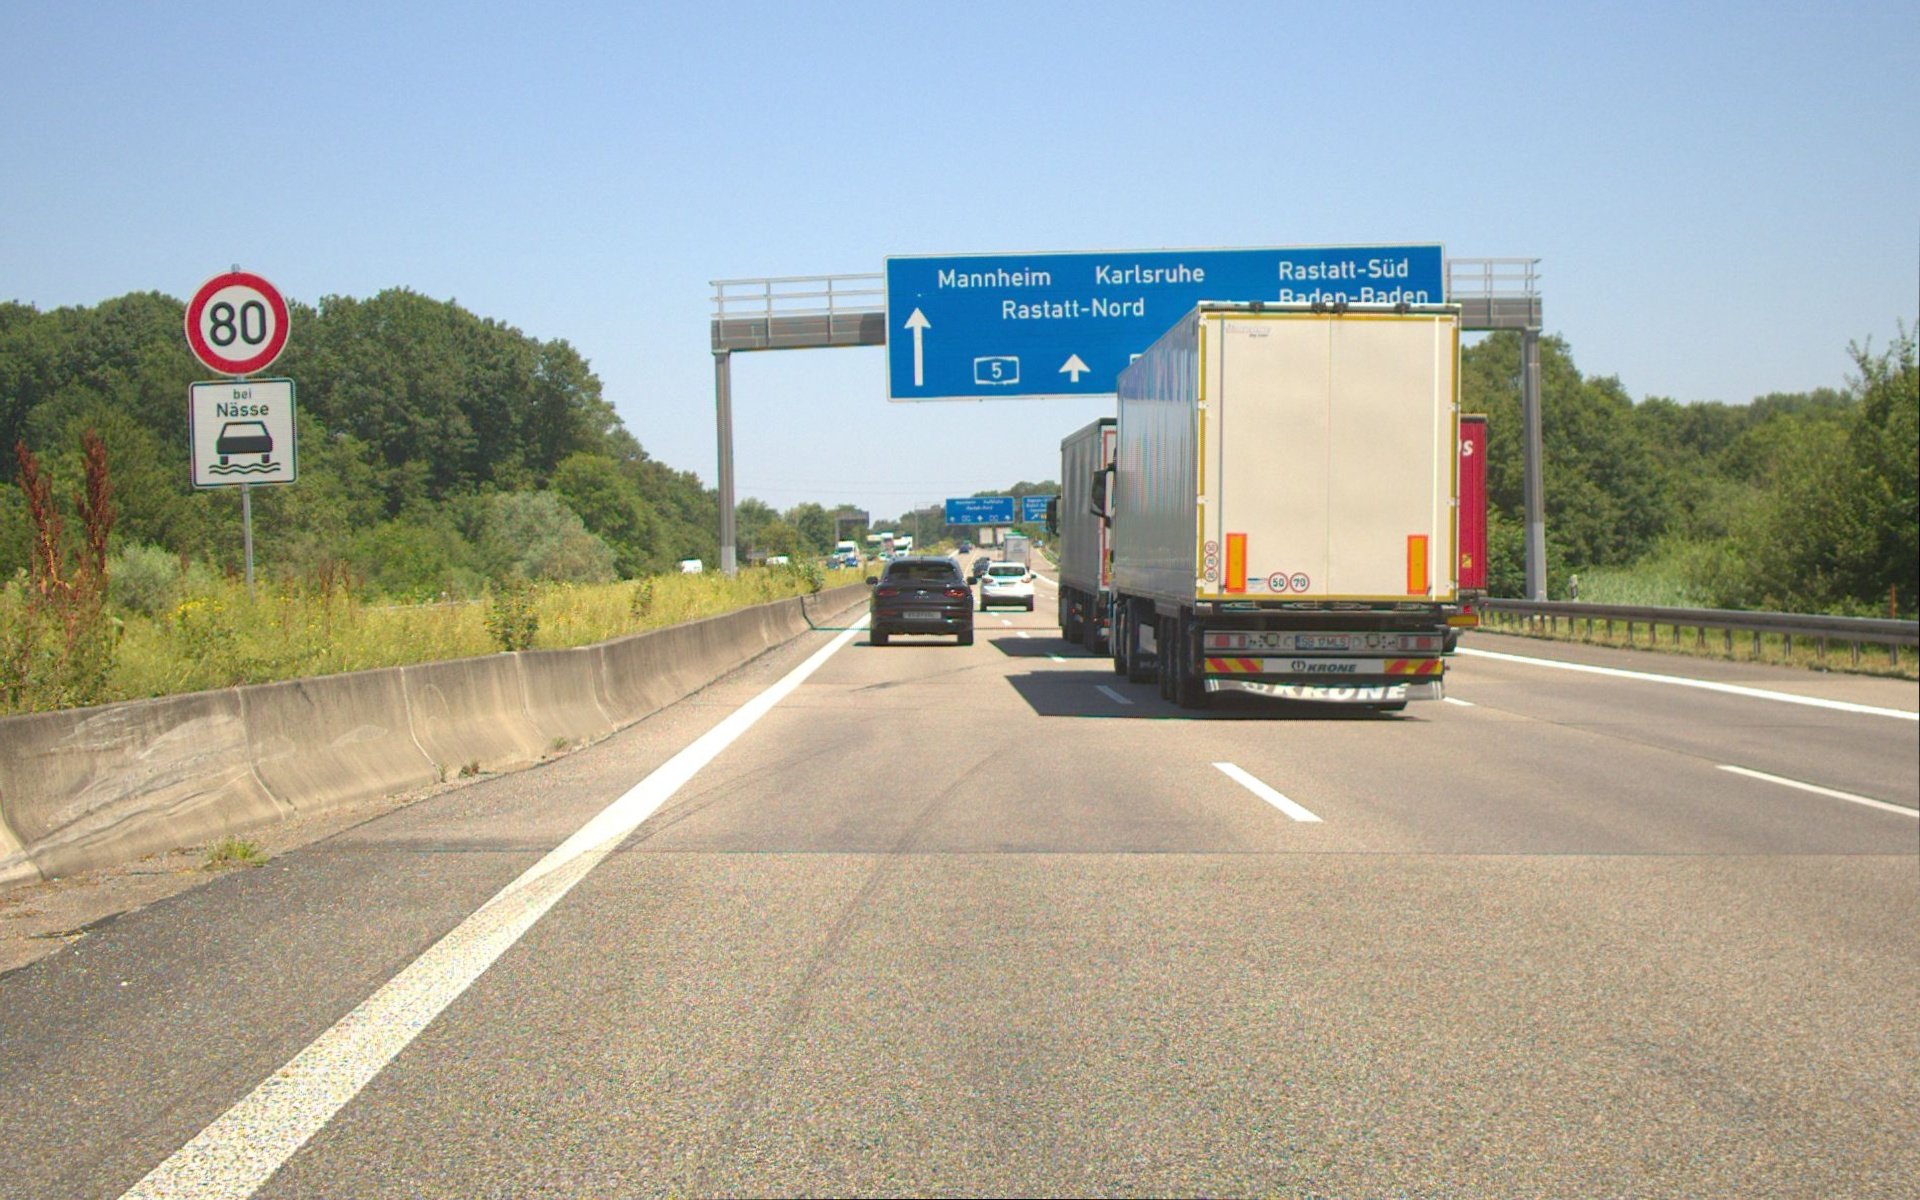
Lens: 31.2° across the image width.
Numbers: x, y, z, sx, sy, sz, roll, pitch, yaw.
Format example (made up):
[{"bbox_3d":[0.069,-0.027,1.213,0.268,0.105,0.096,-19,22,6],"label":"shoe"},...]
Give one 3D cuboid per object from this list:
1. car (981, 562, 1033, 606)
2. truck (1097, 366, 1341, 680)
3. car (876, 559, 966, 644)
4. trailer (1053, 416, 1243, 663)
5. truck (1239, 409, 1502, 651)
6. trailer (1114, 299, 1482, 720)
[{"bbox_3d":[1.603,-0.561,117.783,1.740,1.481,4.000,0,1,0],"label":"car"},{"bbox_3d":[3.422,-1.019,46.846,2.799,3.993,6.021,0,1,-1],"label":"truck"},{"bbox_3d":[-0.779,0.006,66.909,1.660,1.544,3.783,1,1,-1],"label":"car"},{"bbox_3d":[3.294,-1.024,63.914,2.707,4.054,14.746,0,0,0],"label":"trailer"},{"bbox_3d":[7.486,-1.255,64.830,3.055,4.092,13.219,0,1,-1],"label":"truck"},{"bbox_3d":[3.519,-0.948,39.152,2.794,4.021,12.568,0,1,-1],"label":"trailer"}]
